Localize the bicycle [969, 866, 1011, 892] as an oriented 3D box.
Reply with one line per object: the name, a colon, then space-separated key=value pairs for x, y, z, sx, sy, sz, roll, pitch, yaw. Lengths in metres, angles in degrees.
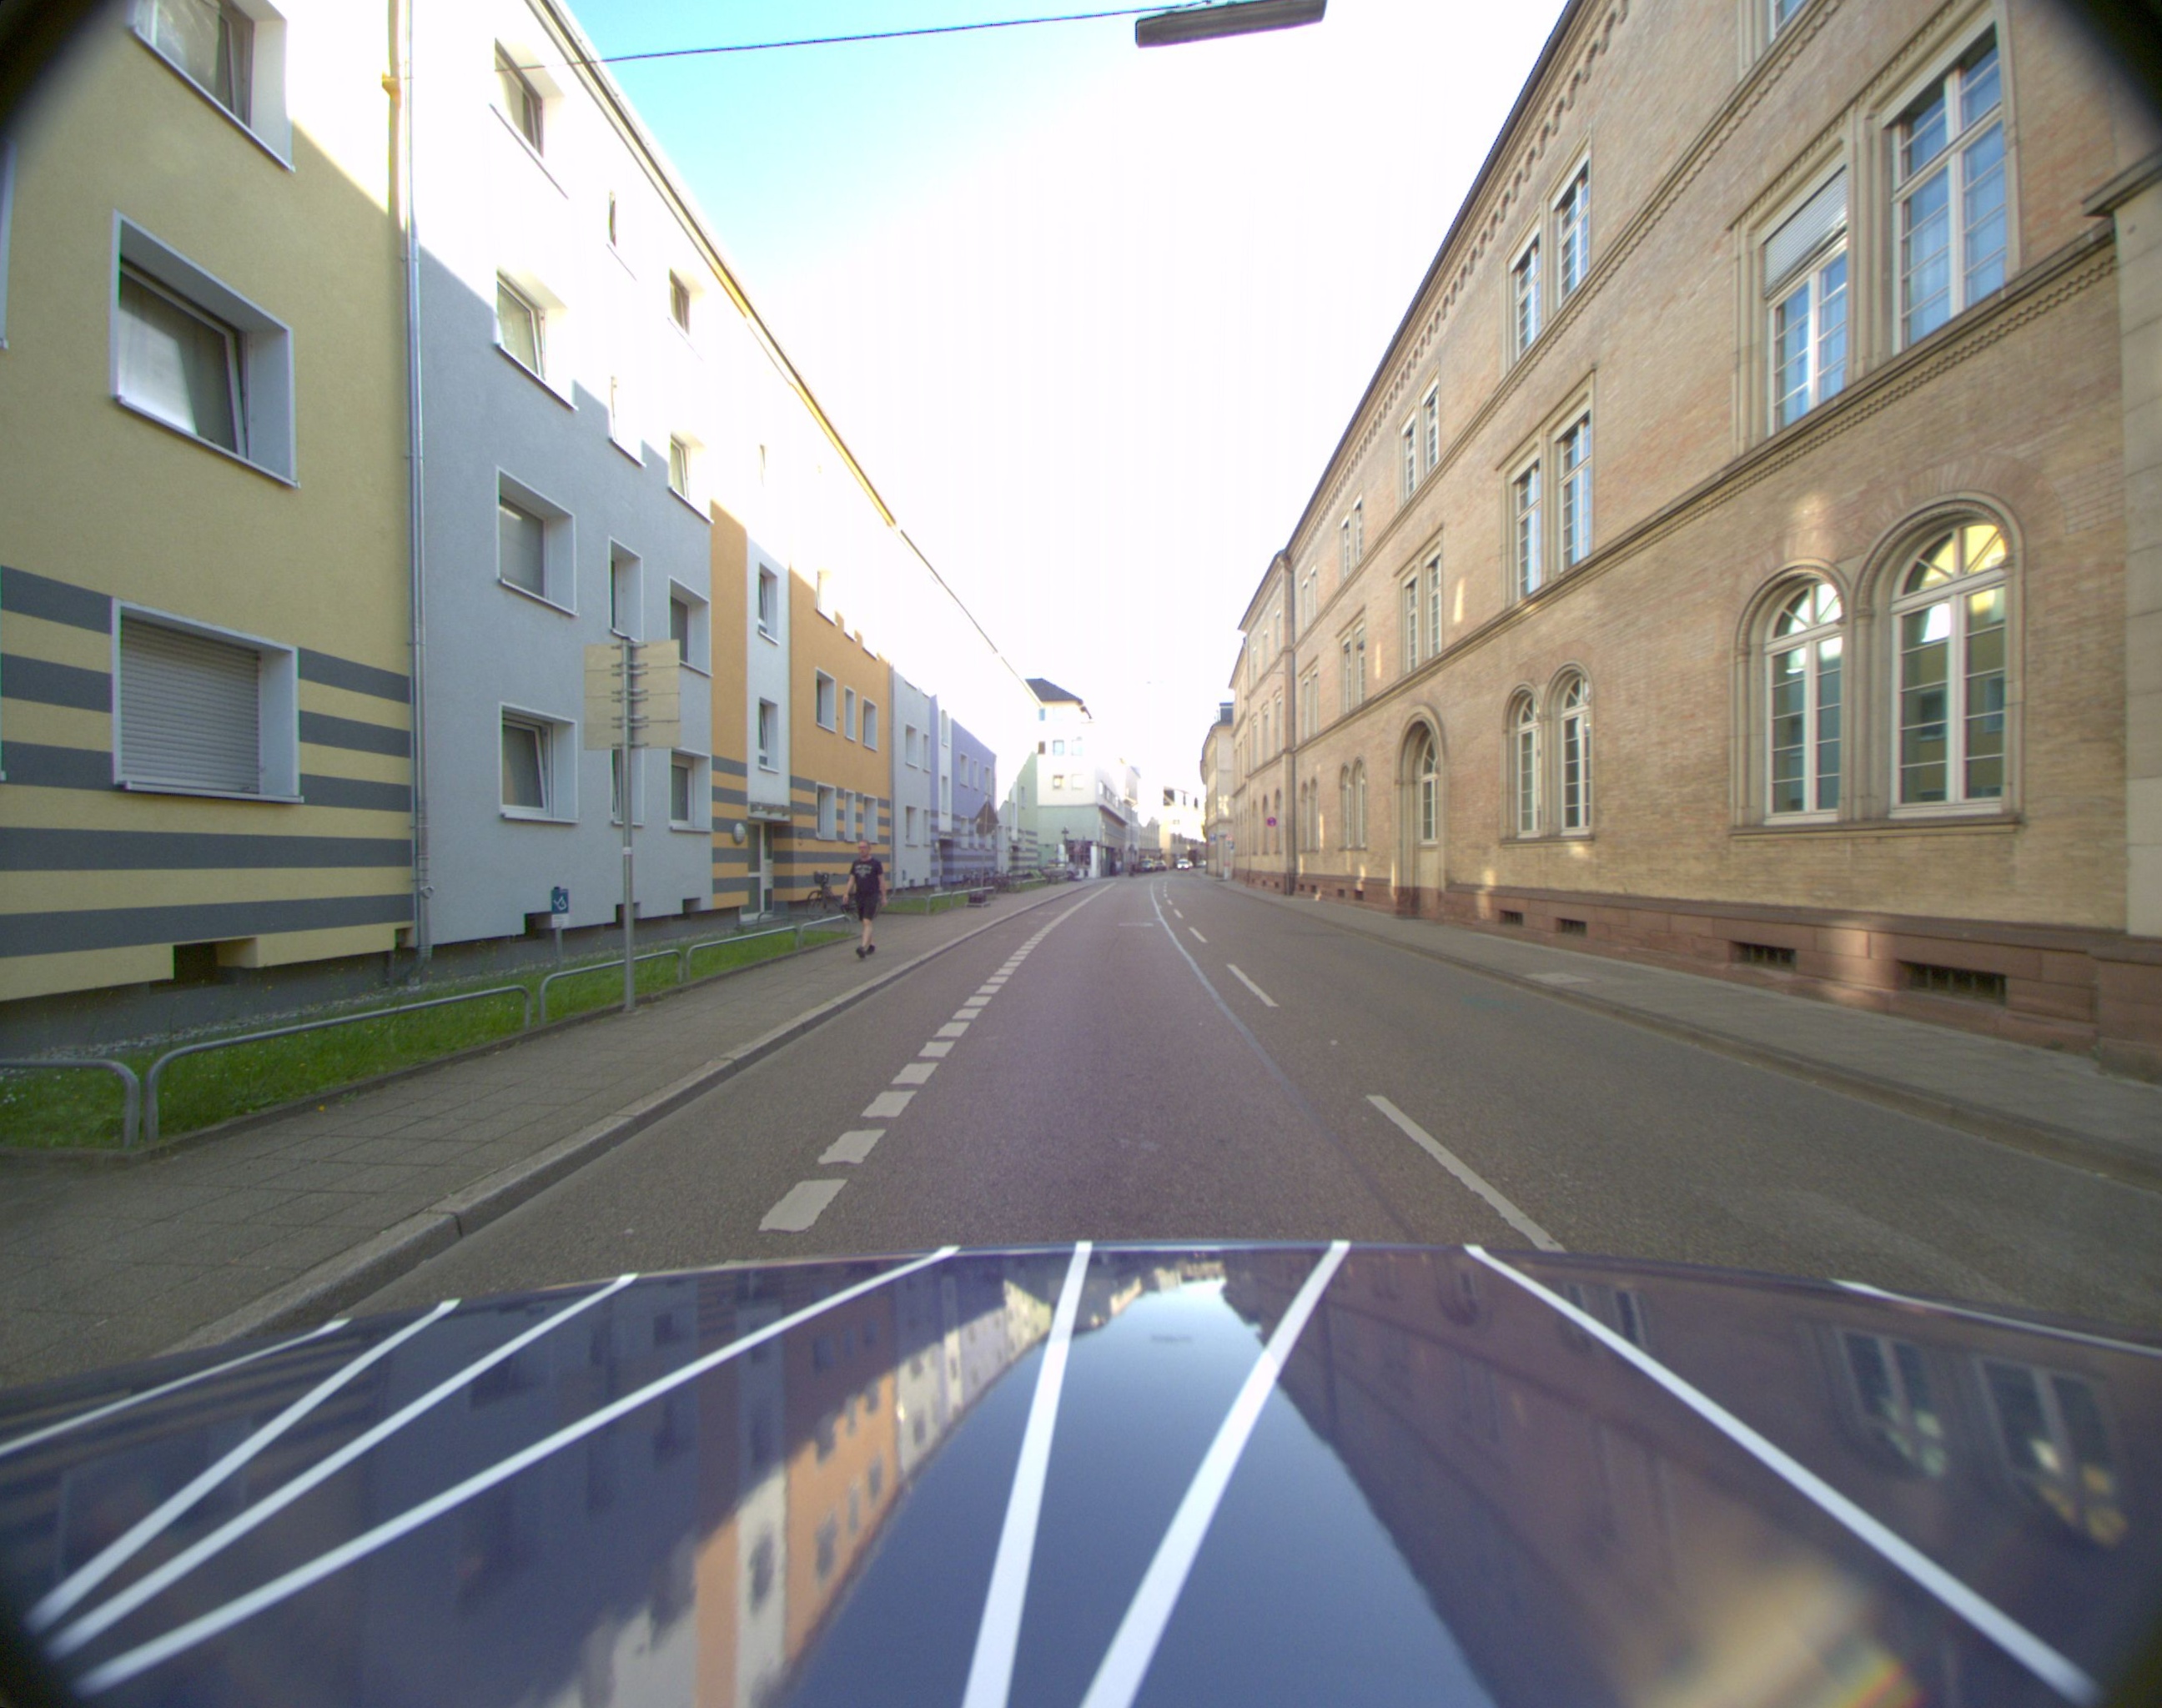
bicycle: x=-3.952 y=1.089 z=32.997 sx=1.710 sy=1.075 sz=0.636 roll=1 pitch=0 yaw=1

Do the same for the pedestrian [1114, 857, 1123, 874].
pedestrian: x=3.558 y=1.087 z=71.877 sx=0.707 sy=1.510 sz=0.662 roll=-1 pitch=0 yaw=11

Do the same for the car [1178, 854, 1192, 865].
car: x=16.603 y=0.883 z=121.097 sx=1.921 sy=1.712 sz=4.965 roll=0 pitch=0 yaw=12

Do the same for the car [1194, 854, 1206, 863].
car: x=25.657 y=0.956 z=163.468 sx=1.925 sy=1.714 sz=4.236 roll=0 pitch=0 yaw=19

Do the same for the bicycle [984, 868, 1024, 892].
bicycle: x=-3.393 y=1.154 z=33.759 sx=1.711 sy=1.029 sz=0.636 roll=1 pitch=0 yaw=-2

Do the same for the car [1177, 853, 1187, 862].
car: x=19.892 y=0.754 z=149.554 sx=1.534 sy=1.714 sz=3.743 roll=0 pitch=0 yaw=16

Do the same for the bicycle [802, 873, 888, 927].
bicycle: x=-5.292 y=1.023 z=17.102 sx=1.711 sy=1.152 sz=0.636 roll=1 pitch=0 yaw=-2

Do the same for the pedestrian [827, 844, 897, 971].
pedestrian: x=-3.250 y=0.767 z=11.338 sx=0.646 sy=1.778 sz=0.916 roll=3 pitch=0 yaw=4

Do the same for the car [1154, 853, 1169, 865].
car: x=12.216 y=0.754 z=114.998 sx=1.860 sy=1.714 sz=3.743 roll=0 pitch=0 yaw=12

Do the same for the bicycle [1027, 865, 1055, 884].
bicycle: x=-2.424 y=1.256 z=46.118 sx=1.711 sy=1.097 sz=0.585 roll=1 pitch=0 yaw=-2

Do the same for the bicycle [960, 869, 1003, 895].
bicycle: x=-4.155 y=1.167 z=31.855 sx=1.710 sy=1.039 sz=0.636 roll=1 pitch=0 yaw=2

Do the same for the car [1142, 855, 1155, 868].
car: x=9.458 y=1.006 z=106.044 sx=1.535 sy=1.714 sz=3.741 roll=0 pitch=0 yaw=8

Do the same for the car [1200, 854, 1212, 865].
car: x=19.848 y=0.917 z=120.373 sx=1.662 sy=1.714 sz=3.743 roll=0 pitch=0 yaw=14

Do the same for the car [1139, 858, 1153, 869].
car: x=8.633 y=1.204 z=100.770 sx=1.634 sy=1.405 sz=3.687 roll=0 pitch=0 yaw=8

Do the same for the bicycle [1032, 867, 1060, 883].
bicycle: x=-2.176 y=1.302 z=47.577 sx=1.711 sy=0.972 sz=0.516 roll=1 pitch=0 yaw=-2
